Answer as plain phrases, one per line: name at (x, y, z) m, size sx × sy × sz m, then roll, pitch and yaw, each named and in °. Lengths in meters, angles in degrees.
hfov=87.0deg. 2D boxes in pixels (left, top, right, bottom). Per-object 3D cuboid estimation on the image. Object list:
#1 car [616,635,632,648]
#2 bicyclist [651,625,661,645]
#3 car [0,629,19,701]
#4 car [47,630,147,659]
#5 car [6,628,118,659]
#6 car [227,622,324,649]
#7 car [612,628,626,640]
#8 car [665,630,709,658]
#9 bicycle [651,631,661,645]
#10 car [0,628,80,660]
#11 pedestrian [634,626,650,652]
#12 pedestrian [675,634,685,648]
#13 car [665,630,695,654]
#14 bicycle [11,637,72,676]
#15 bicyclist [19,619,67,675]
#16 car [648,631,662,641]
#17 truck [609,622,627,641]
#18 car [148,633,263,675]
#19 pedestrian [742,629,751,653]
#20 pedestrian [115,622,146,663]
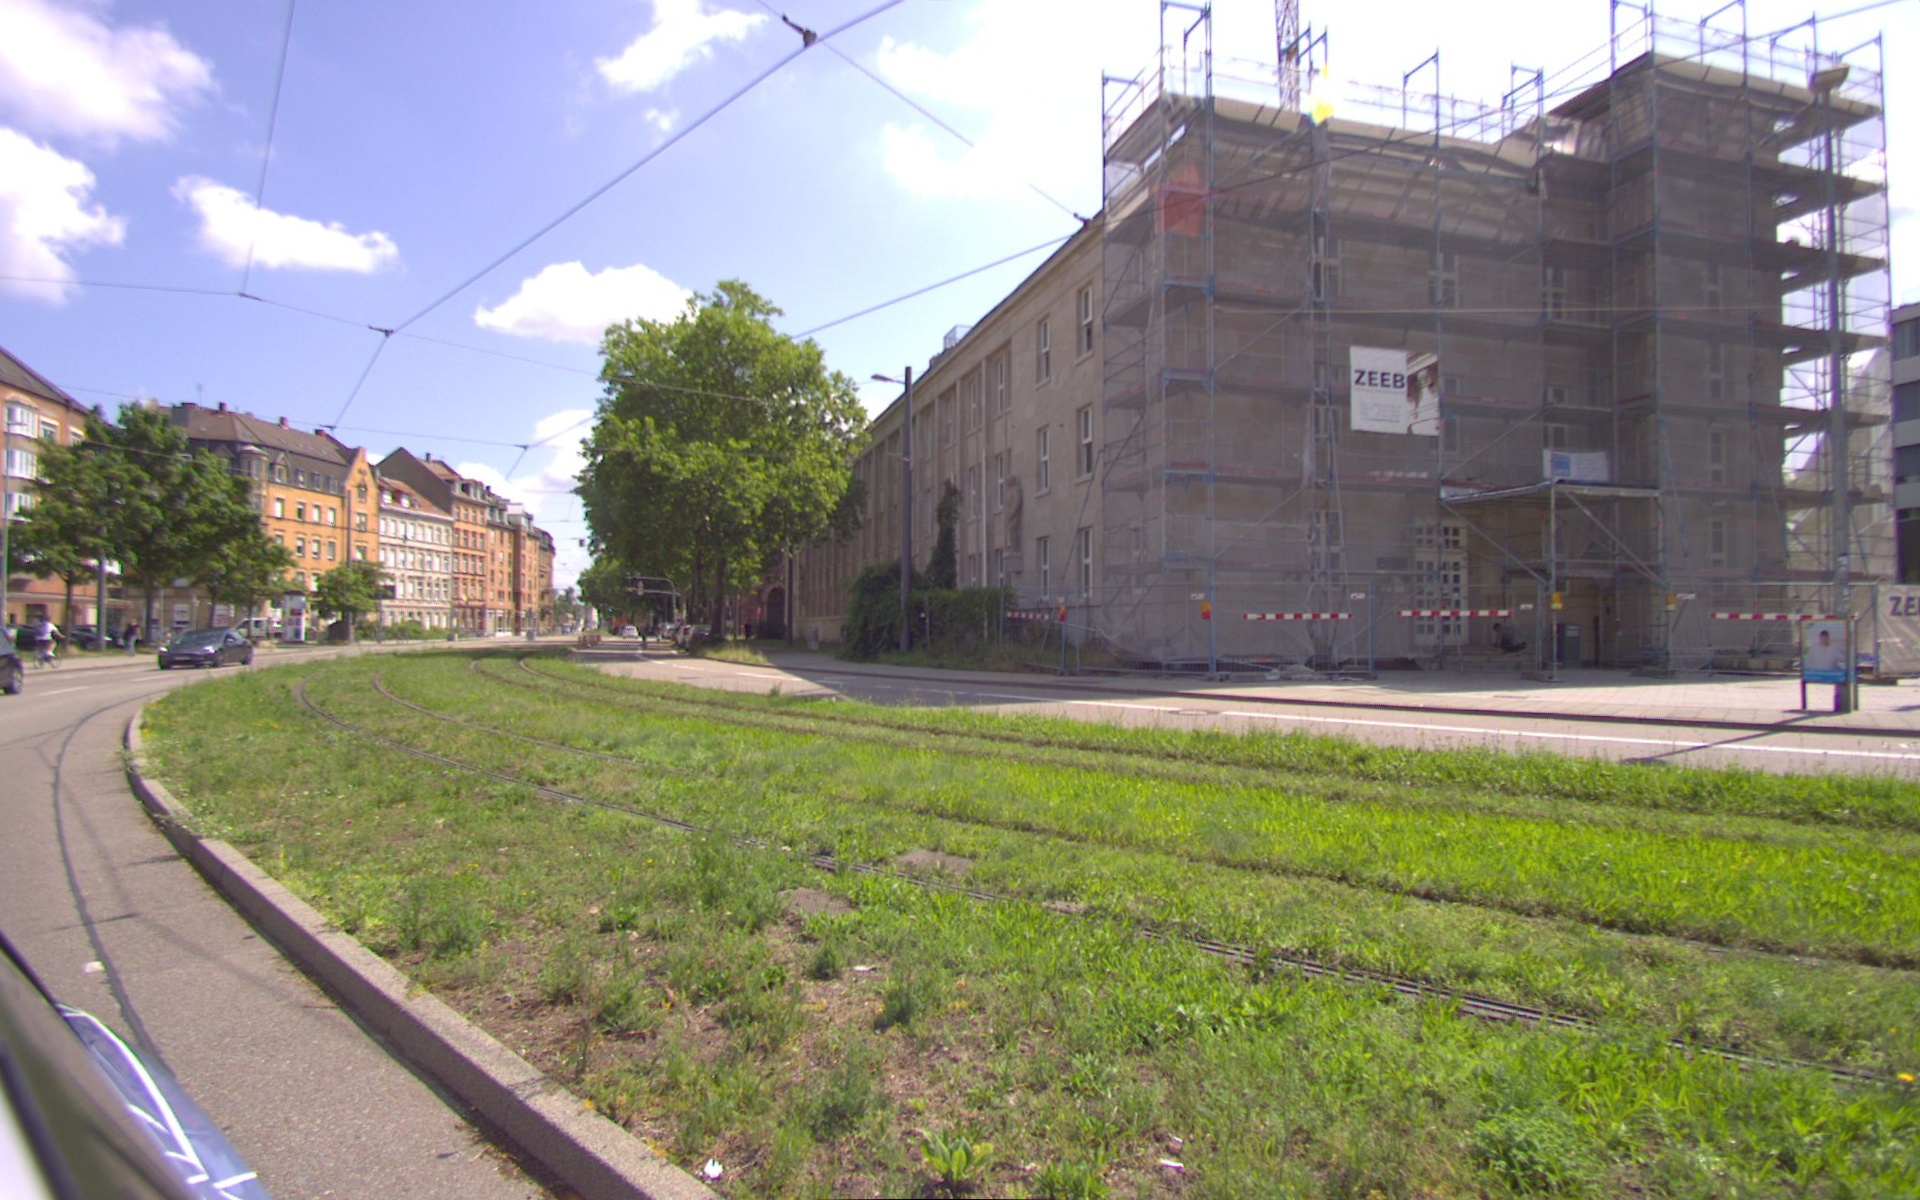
car at (-40.026, 4.982, 120.673) m, size 1.735 × 1.491 × 3.799 m, roll 3°, pitch -3°, yaw -18°
bicyclist at (-25.710, 2.941, 85.599) m, size 0.751 × 1.717 × 0.786 m, roll -1°, pitch -1°, yaw -16°
car at (-22.102, 1.457, 21.693) m, size 1.844 × 1.631 × 4.202 m, roll 0°, pitch -1°, yaw -29°
car at (-45.626, 2.325, 53.610) m, size 3.937 × 1.364 × 1.965 m, roll 0°, pitch -1°, yaw -40°
car at (-44.616, 2.124, 50.314) m, size 1.960 × 1.391 × 3.947 m, roll -2°, pitch -1°, yaw 40°
car at (-60.792, 3.139, 90.050) m, size 6.860 × 2.392 × 2.270 m, roll 1°, pitch -2°, yaw -28°
car at (-51.348, 5.131, 152.444) m, size 1.894 × 1.759 × 4.551 m, roll 3°, pitch -2°, yaw -18°
car at (-14.522, 2.326, 53.678) m, size 1.899 × 1.379 × 4.331 m, roll -1°, pitch -2°, yaw -19°
bicycle at (-25.763, 3.233, 85.691) m, size 0.779 × 1.118 × 2.283 m, roll -1°, pitch -1°, yaw -17°
car at (-43.918, 2.058, 47.407) m, size 1.962 × 1.391 × 3.941 m, roll -2°, pitch -2°, yaw 45°
pedestrian at (-21.455, 2.649, 68.202) m, size 0.702 × 1.717 × 0.772 m, roll -2°, pitch -2°, yaw 43°
pedestrian at (-25.692, 3.756, 92.841) m, size 0.745 × 1.221 × 0.916 m, roll -5°, pitch 0°, yaw -15°
car at (-18.726, 2.790, 67.580) m, size 1.722 × 1.465 × 3.502 m, roll -1°, pitch -2°, yaw -19°
bicycle at (-31.665, 1.928, 34.924) m, size 0.684 × 1.251 × 1.844 m, roll 6°, pitch -4°, yaw -15°
bicyclist at (-31.640, 1.629, 34.931) m, size 0.685 × 1.838 × 0.959 m, roll 6°, pitch -4°, yaw -16°
car at (-51.227, 6.017, 169.758) m, size 1.732 × 1.508 × 4.013 m, roll -1°, pitch -1°, yaw -24°
truck at (-58.454, 5.431, 173.181) m, size 2.602 × 3.130 × 7.244 m, roll 2°, pitch -2°, yaw -17°
car at (-28.162, 1.975, 37.930) m, size 1.884 × 1.404 × 4.324 m, roll -1°, pitch -1°, yaw -13°
pedestrian at (-14.388, 2.770, 68.204) m, size 0.546 × 1.603 × 0.798 m, roll -1°, pitch -1°, yaw -18°
pedestrian at (-36.127, 1.850, 44.089) m, size 0.690 × 1.717 × 1.048 m, roll 2°, pitch -1°, yaw -18°
